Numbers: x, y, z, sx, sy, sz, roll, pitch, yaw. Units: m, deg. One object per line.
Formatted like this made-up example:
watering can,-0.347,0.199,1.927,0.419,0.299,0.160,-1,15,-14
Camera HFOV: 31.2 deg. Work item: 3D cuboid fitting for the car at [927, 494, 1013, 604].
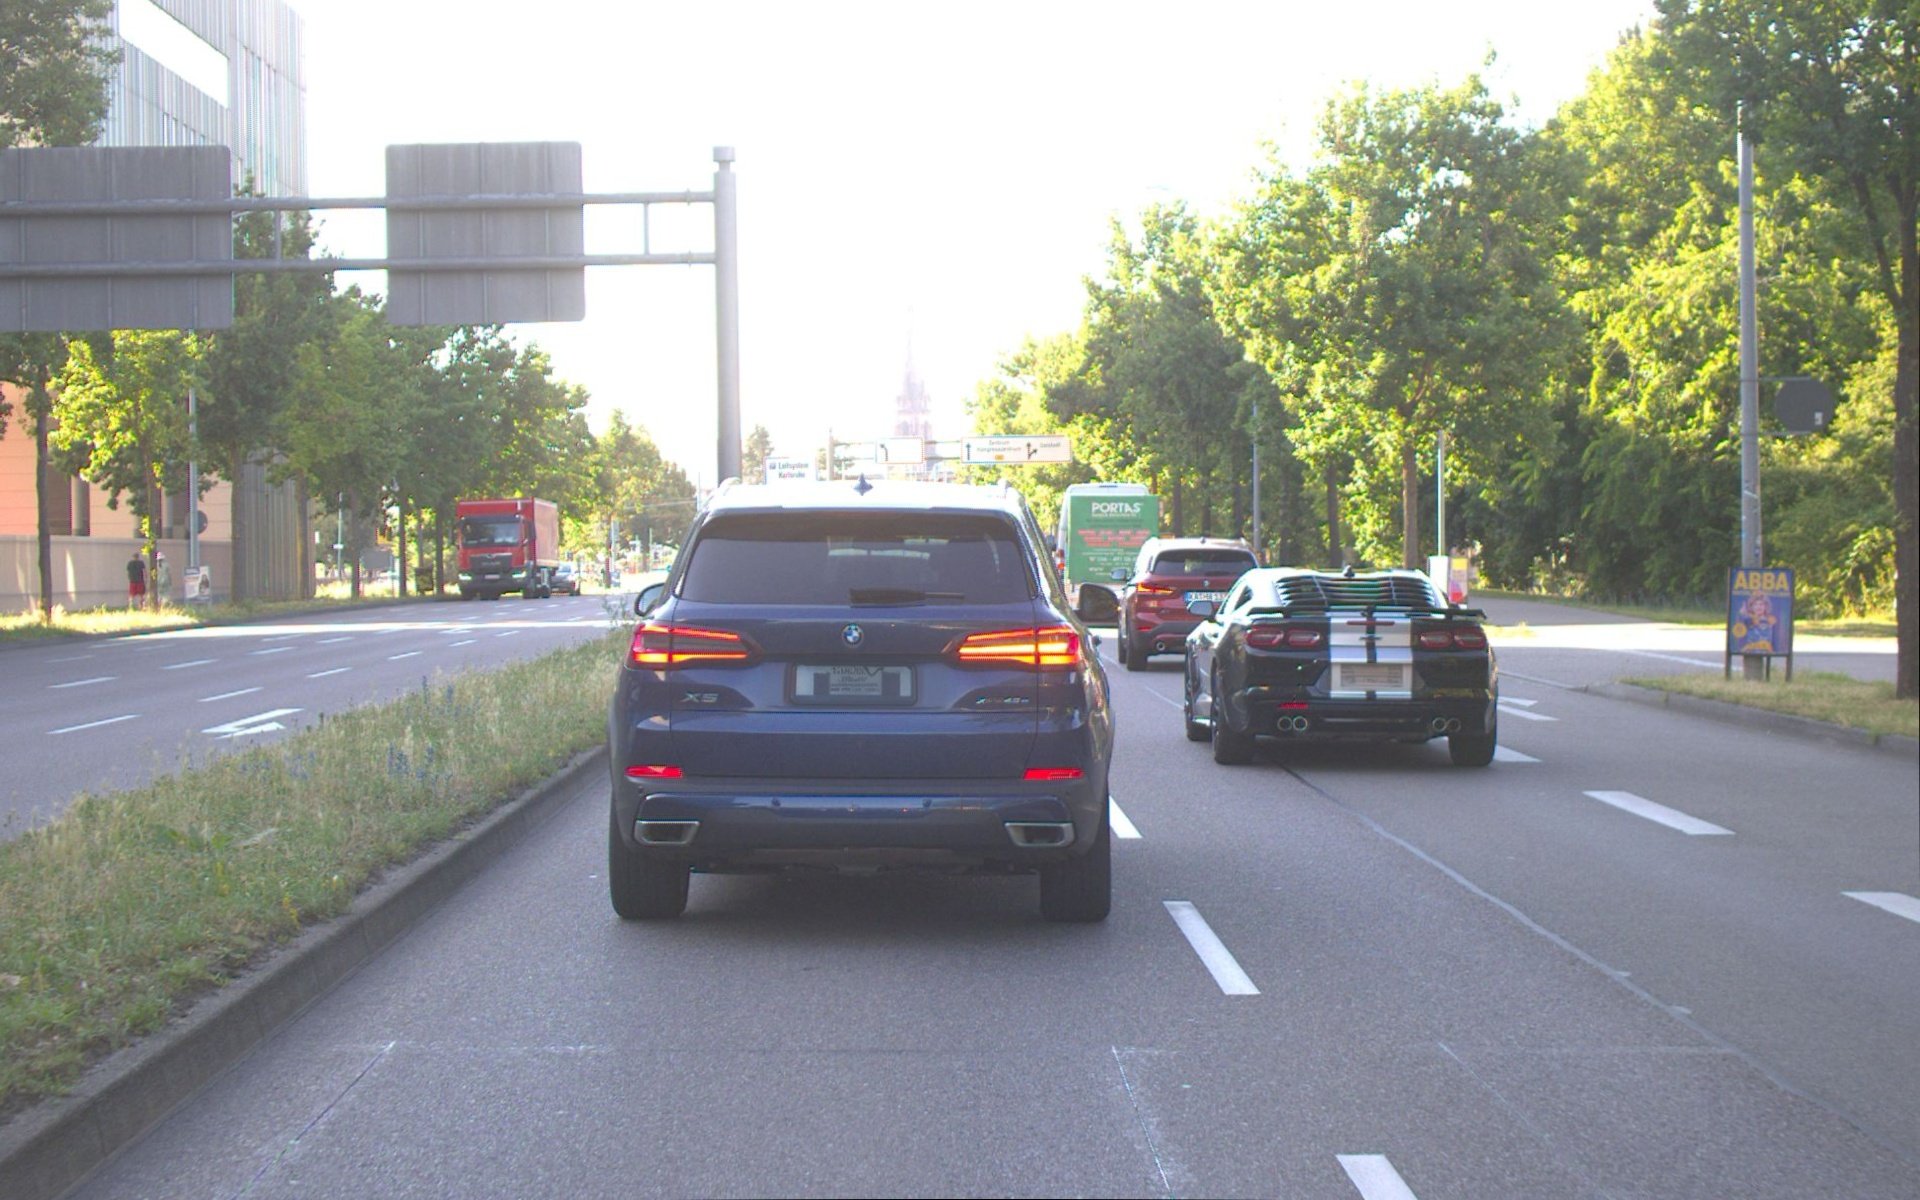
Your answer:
car,0.212,-1.253,83.296,1.993,2.576,4.000,-1,1,-1

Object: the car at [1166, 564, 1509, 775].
car,2.572,0.424,24.468,1.854,1.333,4.625,1,1,-1

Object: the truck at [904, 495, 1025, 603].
truck,0.063,-1.255,85.509,2.580,2.549,6.252,-1,1,-4

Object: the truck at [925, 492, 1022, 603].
truck,0.304,-1.295,84.969,2.219,2.642,4.774,-1,1,-1

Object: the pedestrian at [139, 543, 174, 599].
pedestrian,-23.381,-0.849,100.104,0.776,1.596,0.909,-1,1,0

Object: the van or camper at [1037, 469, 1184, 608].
van or camper,2.927,-1.217,68.387,2.284,2.620,6.584,0,1,-3

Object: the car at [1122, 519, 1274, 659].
car,2.912,-0.134,42.134,1.747,1.615,3.819,-1,0,4

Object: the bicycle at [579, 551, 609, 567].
bicycle,-23.904,-2.665,224.554,1.909,1.016,0.504,1,0,15

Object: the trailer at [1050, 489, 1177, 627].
trailer,2.744,-0.762,62.298,2.090,2.392,3.501,1,1,0

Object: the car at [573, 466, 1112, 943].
car,-0.421,0.373,14.885,1.955,1.721,4.699,0,0,0

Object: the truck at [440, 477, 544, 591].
truck,-16.315,-2.314,120.470,2.998,3.798,10.091,-1,1,-4

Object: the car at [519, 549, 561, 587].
car,-17.482,-1.343,143.106,1.595,1.507,3.868,-1,1,-5
